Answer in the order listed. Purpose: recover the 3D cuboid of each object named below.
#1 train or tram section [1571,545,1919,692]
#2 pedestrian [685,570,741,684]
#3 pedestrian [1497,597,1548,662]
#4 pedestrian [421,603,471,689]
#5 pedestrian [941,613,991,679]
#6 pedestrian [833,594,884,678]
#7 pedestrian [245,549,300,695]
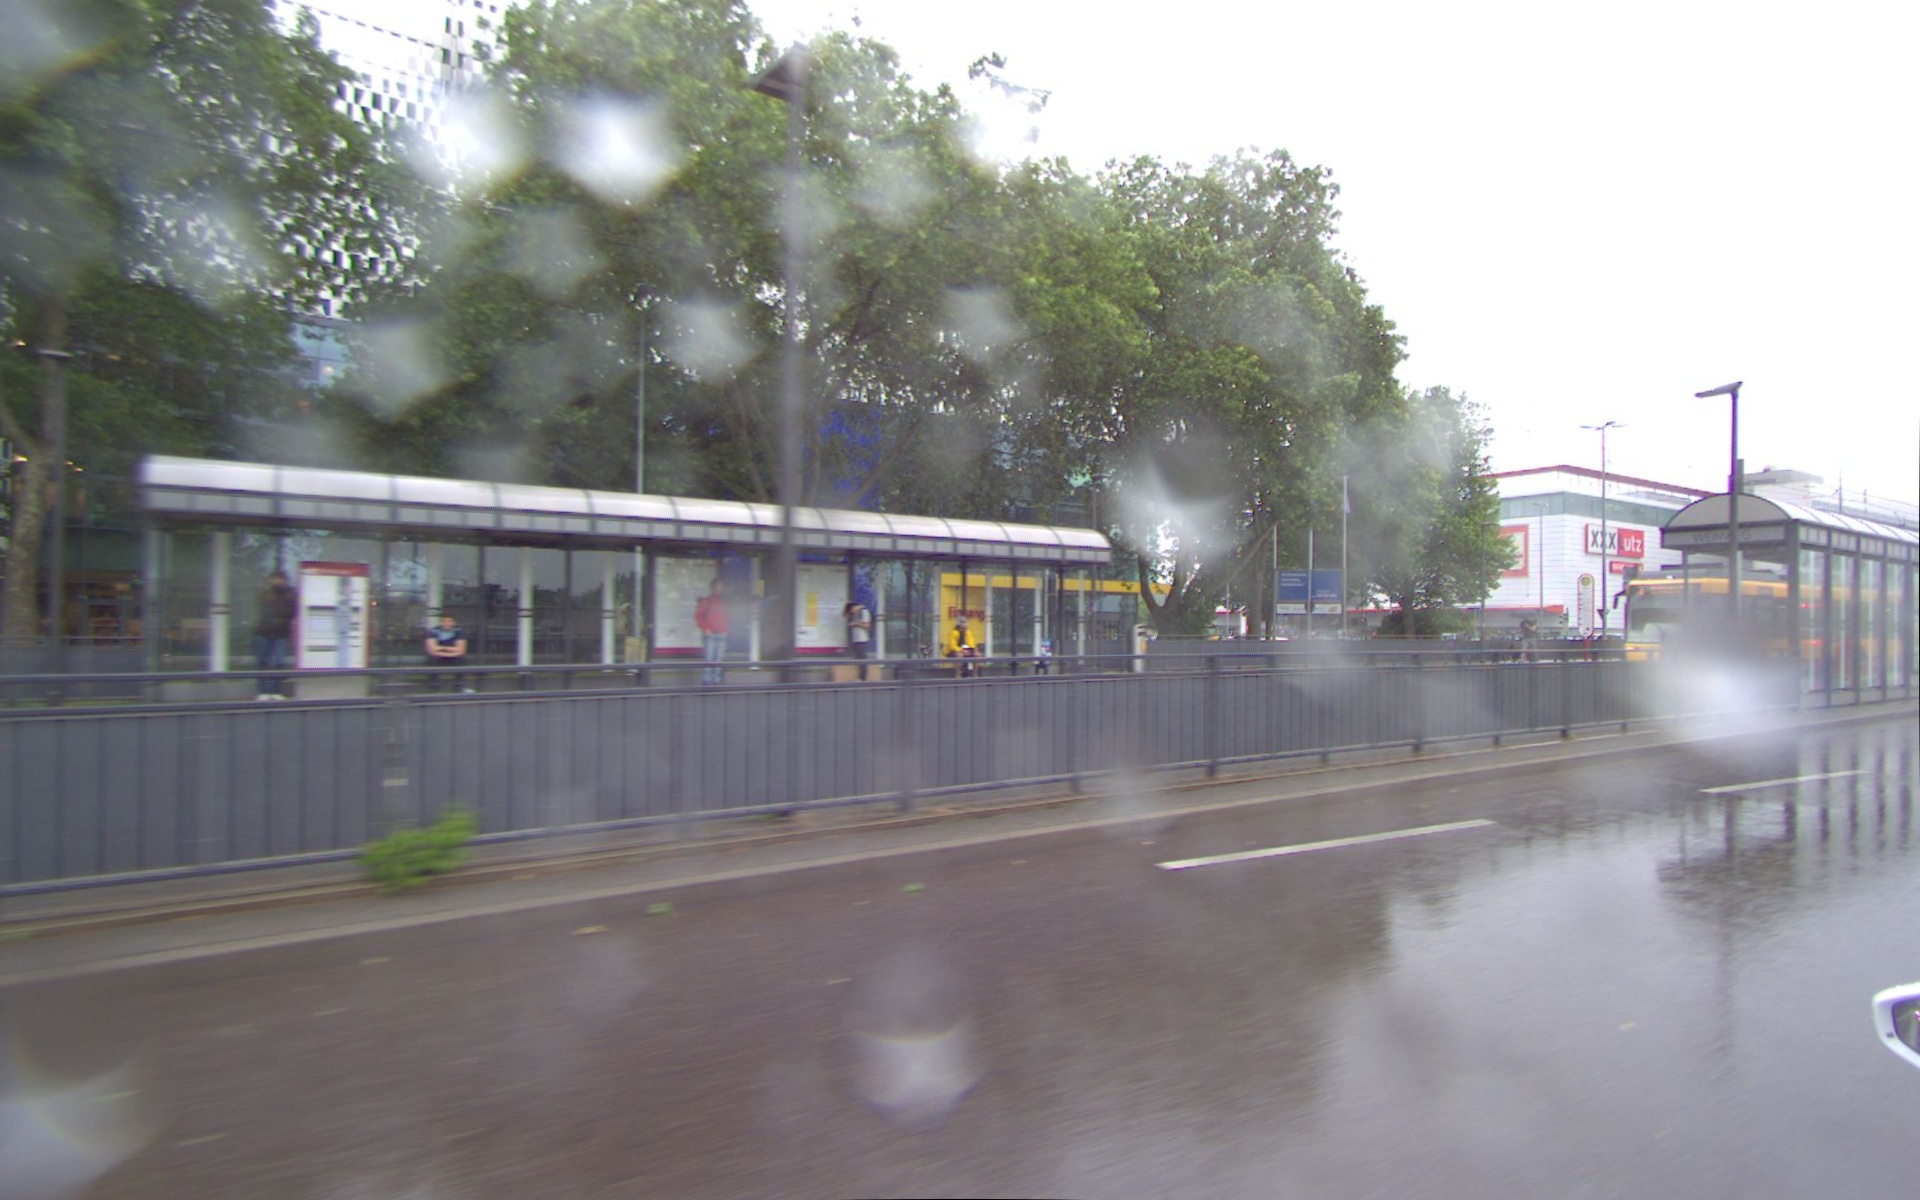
[{"bbox_3d":[31.226,0.800,37.004,26.804,4.090,3.748,2,0,-33],"label":"train or tram section"},{"bbox_3d":[-4.330,0.466,17.586,0.804,1.959,0.618,1,0,-27],"label":"pedestrian"},{"bbox_3d":[18.338,0.942,32.765,1.086,2.040,1.080,1,0,-37],"label":"pedestrian"},{"bbox_3d":[-7.896,0.703,15.439,0.655,1.284,0.491,1,0,-27],"label":"pedestrian"},{"bbox_3d":[0.129,0.954,20.885,0.804,1.320,0.640,1,0,-27],"label":"pedestrian"},{"bbox_3d":[-1.962,0.689,19.514,0.811,1.582,0.673,2,0,7],"label":"pedestrian"},{"bbox_3d":[-9.815,0.313,14.353,0.576,2.040,0.490,1,1,-31],"label":"pedestrian"}]
